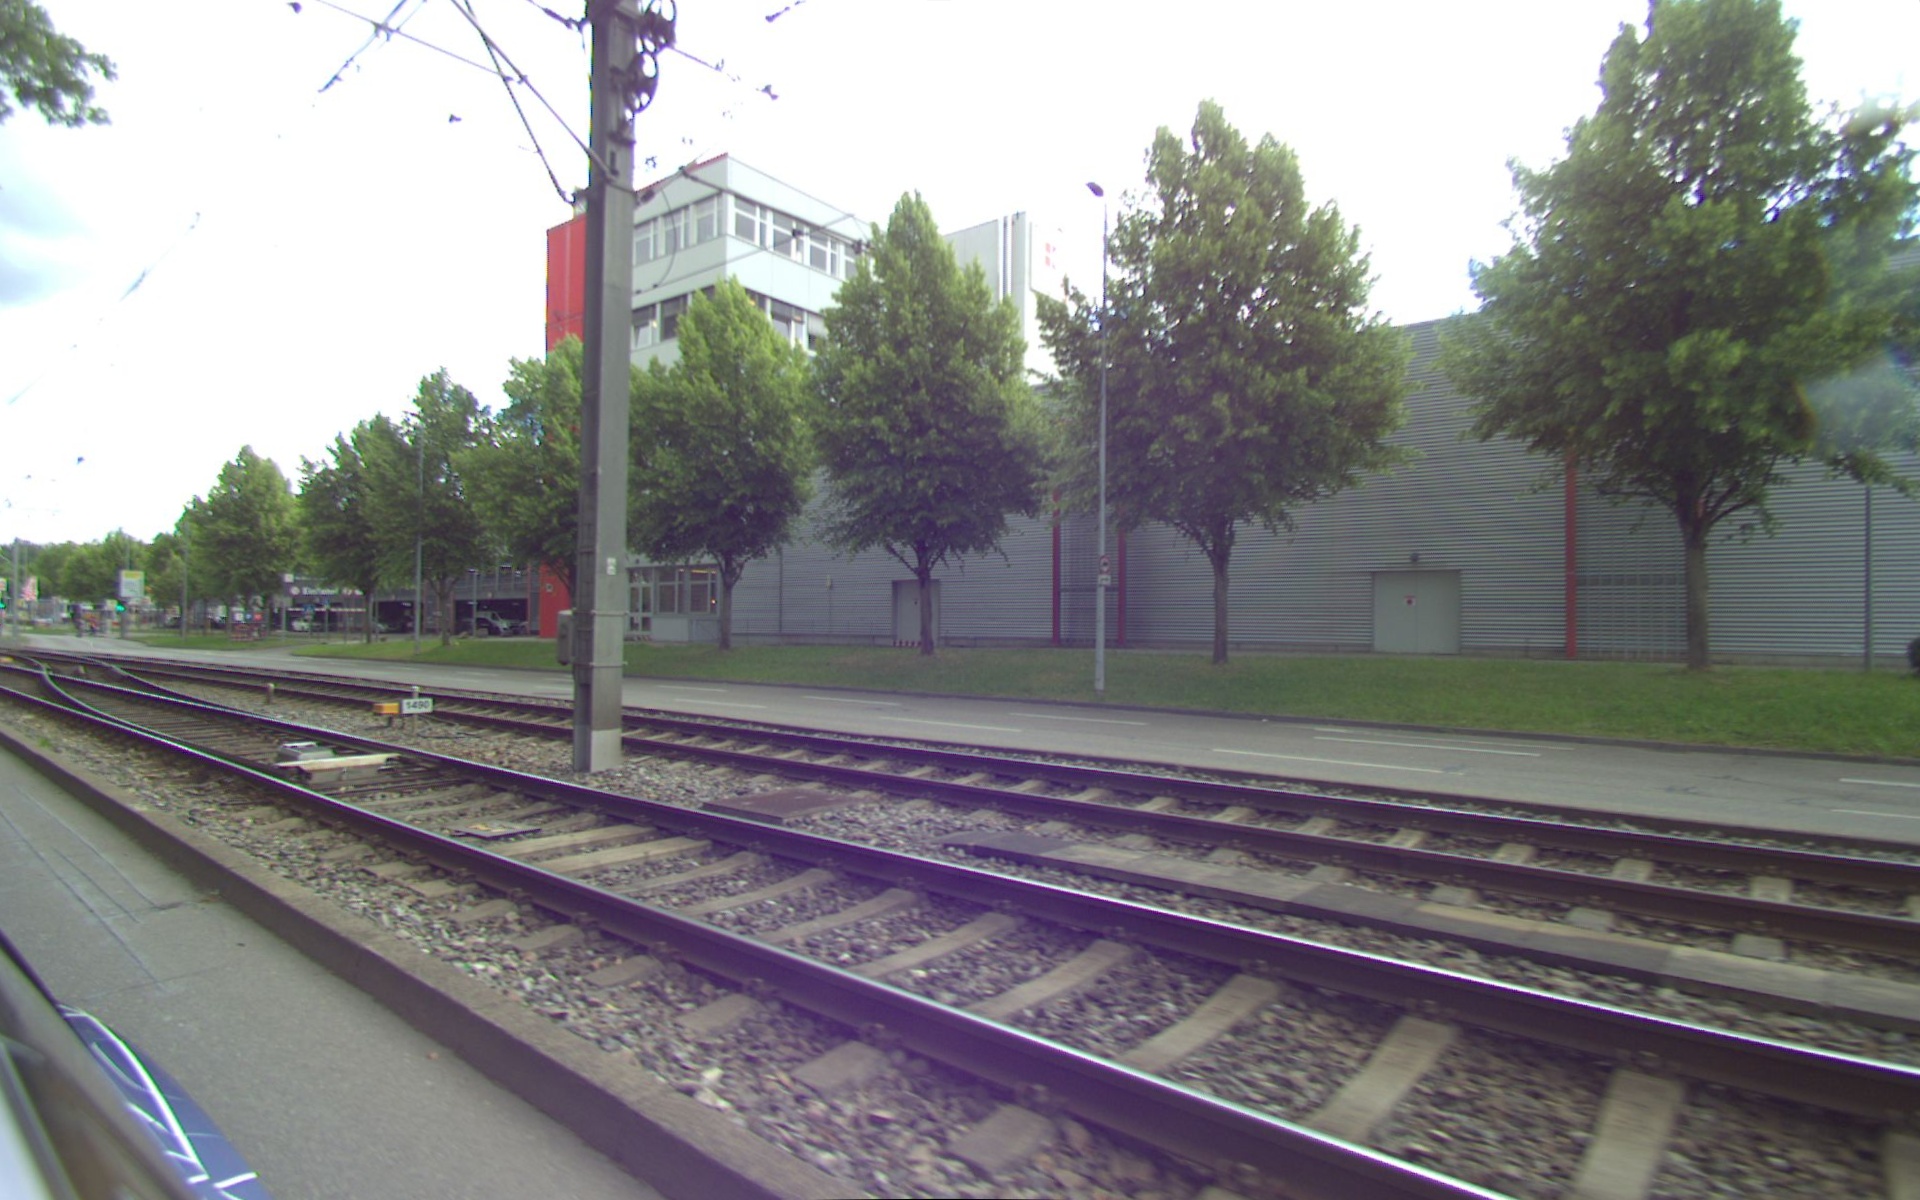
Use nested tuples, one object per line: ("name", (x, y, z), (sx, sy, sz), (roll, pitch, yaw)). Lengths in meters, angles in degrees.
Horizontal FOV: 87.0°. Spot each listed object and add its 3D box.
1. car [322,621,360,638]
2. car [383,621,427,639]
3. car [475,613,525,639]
("car", (-63.898, 2.992, 104.485), (4.399, 1.712, 1.974), (-1, -2, 38))
("car", (-51.259, 2.771, 93.466), (4.399, 1.640, 1.974), (-1, -2, 38))
("car", (-38.097, 2.152, 83.851), (4.399, 2.029, 1.974), (-1, -2, 38))
